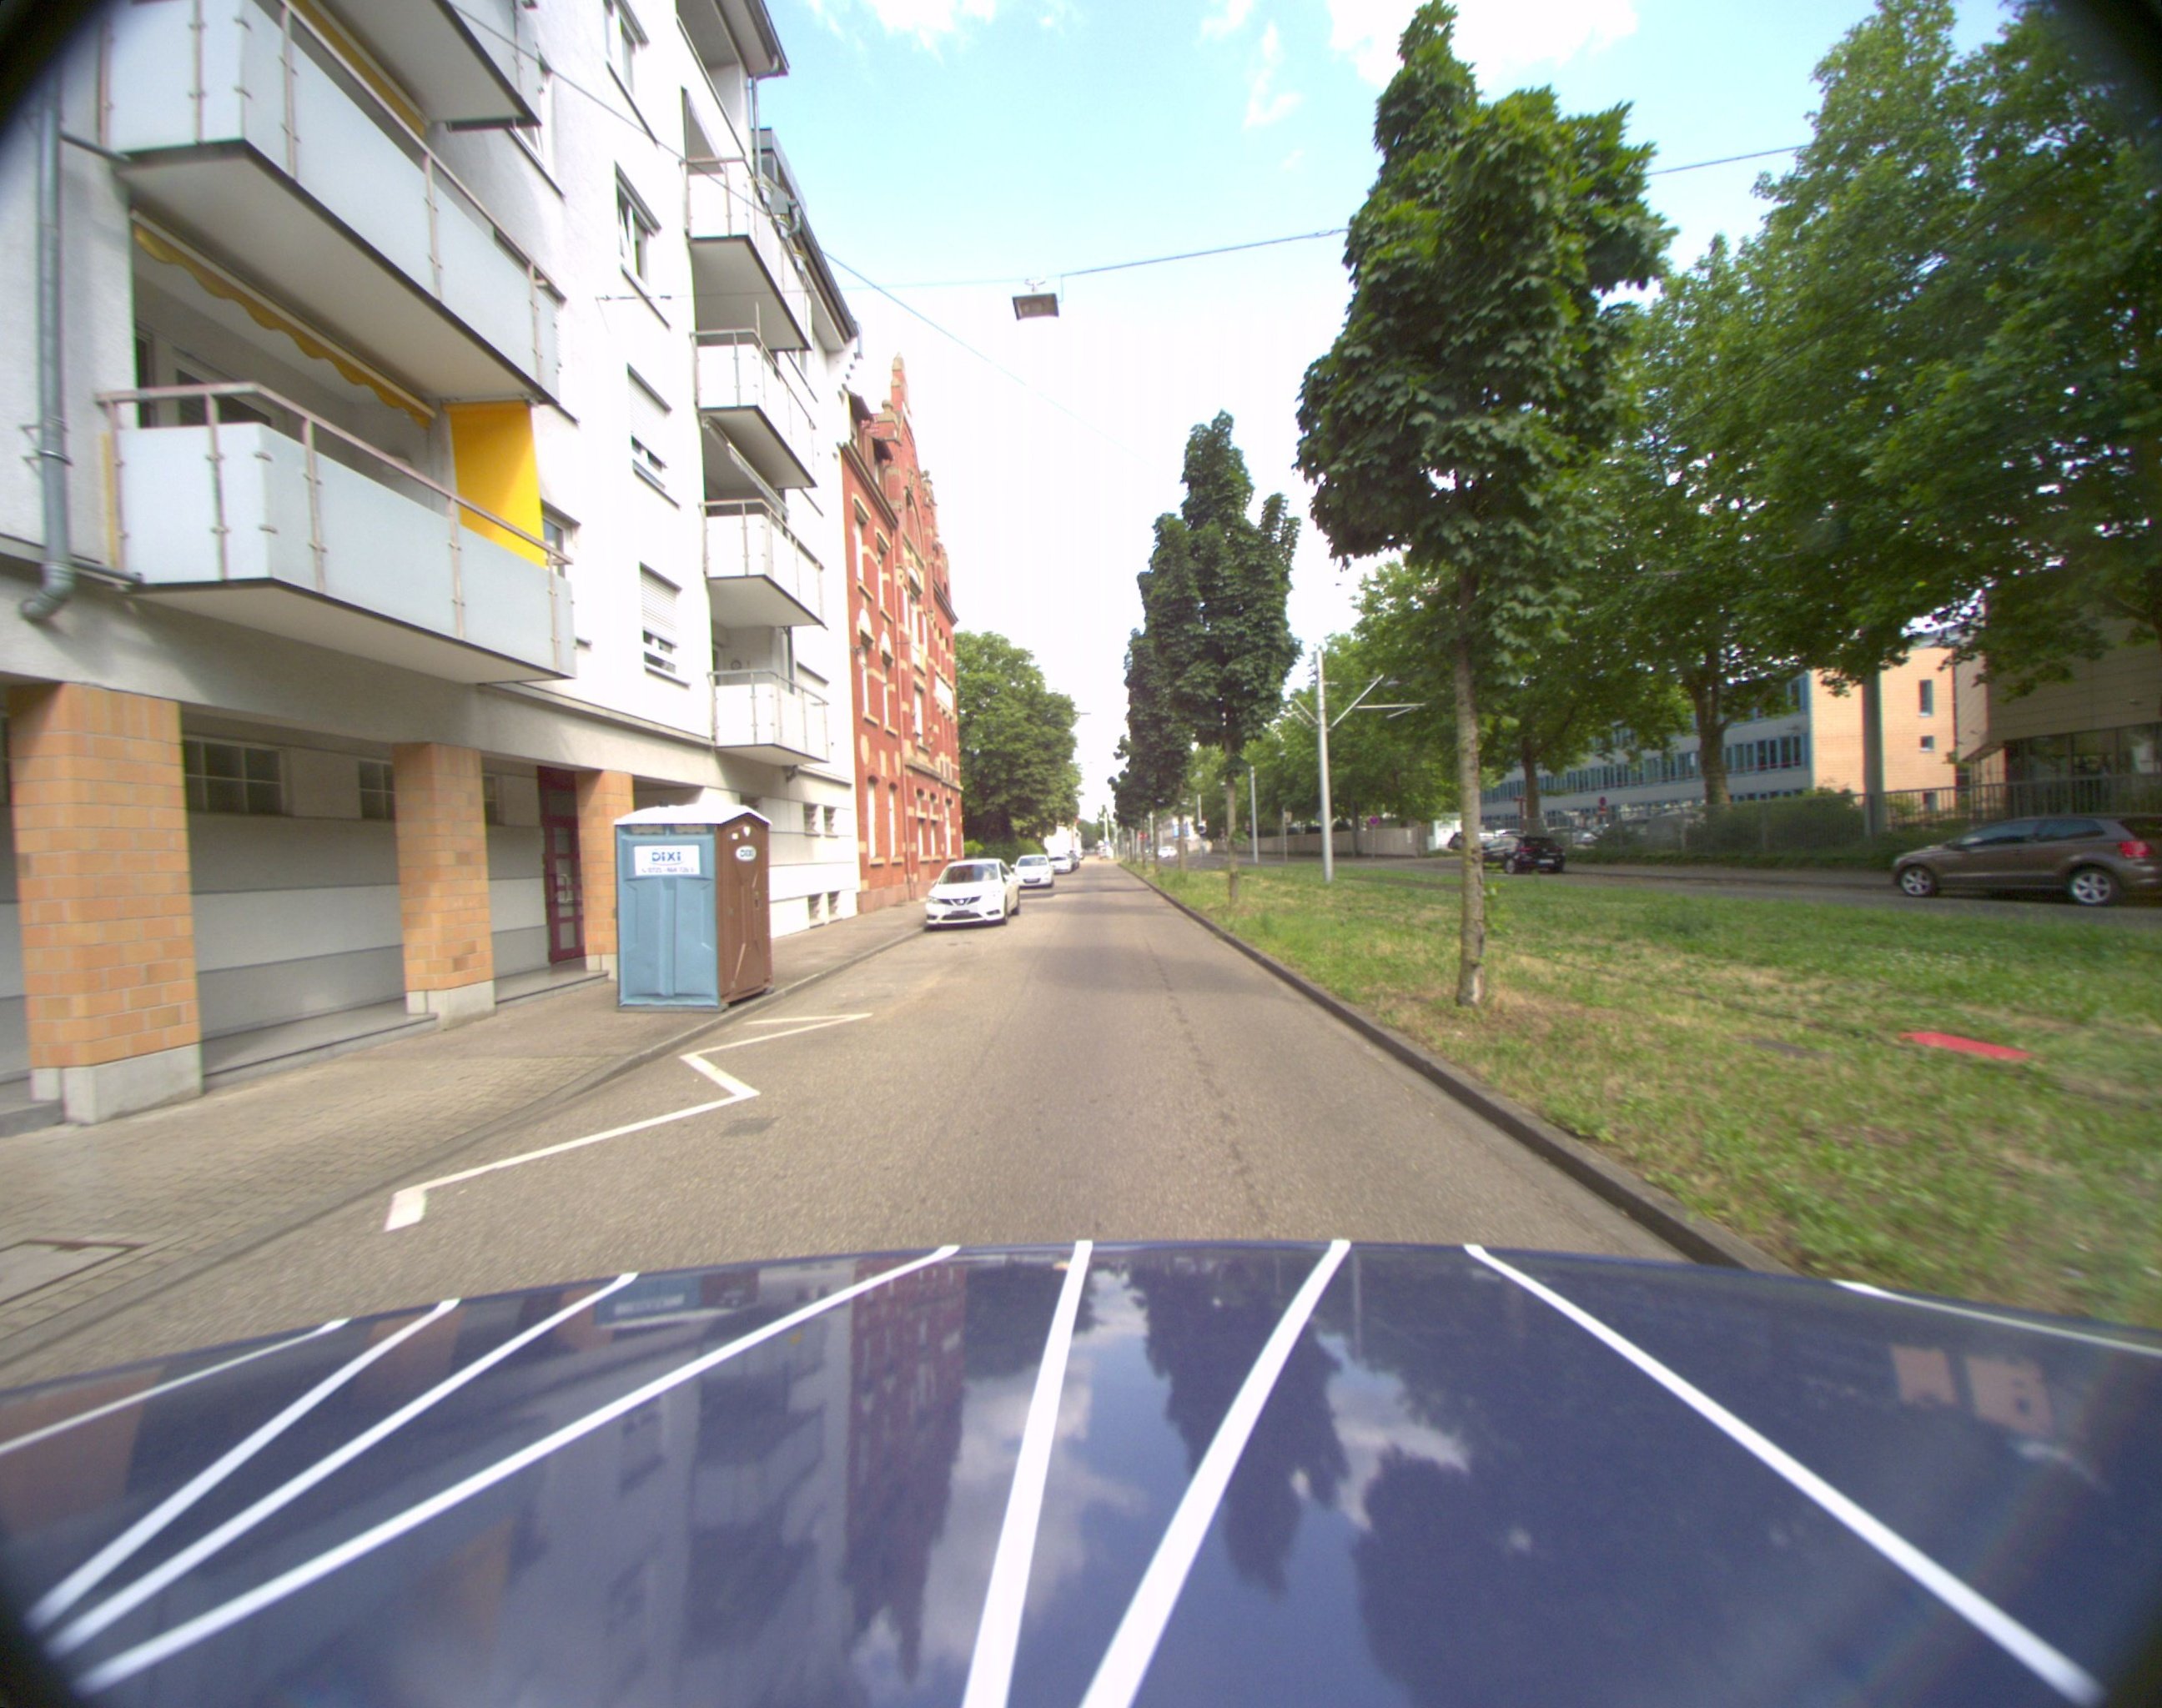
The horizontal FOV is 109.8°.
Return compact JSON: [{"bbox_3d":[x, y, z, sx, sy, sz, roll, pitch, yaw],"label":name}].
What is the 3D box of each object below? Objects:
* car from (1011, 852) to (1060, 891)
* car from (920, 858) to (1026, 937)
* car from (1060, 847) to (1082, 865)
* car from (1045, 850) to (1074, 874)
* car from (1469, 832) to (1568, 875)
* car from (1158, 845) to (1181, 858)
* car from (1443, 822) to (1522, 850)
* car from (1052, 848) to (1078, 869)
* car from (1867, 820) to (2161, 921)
[{"bbox_3d":[-1.991,0.729,34.374,1.801,1.521,4.040,-4,1,1],"label":"car"},{"bbox_3d":[-2.446,0.933,18.211,1.801,1.521,4.041,-3,1,1],"label":"car"},{"bbox_3d":[-0.908,0.206,73.028,1.801,1.521,4.040,-5,1,1],"label":"car"},{"bbox_3d":[-1.519,0.576,55.876,1.801,1.521,4.040,-5,1,1],"label":"car"},{"bbox_3d":[16.418,-0.039,28.751,1.601,1.455,4.000,-3,1,3],"label":"car"},{"bbox_3d":[11.808,-0.388,101.412,1.798,1.521,4.047,-3,1,26],"label":"car"},{"bbox_3d":[25.566,-1.172,48.504,3.997,1.609,2.000,-2,1,0],"label":"car"},{"bbox_3d":[-1.273,0.315,62.161,1.801,1.521,4.040,-5,1,1],"label":"car"},{"bbox_3d":[16.159,0.201,12.936,1.558,1.417,3.901,-3,1,2],"label":"car"}]
